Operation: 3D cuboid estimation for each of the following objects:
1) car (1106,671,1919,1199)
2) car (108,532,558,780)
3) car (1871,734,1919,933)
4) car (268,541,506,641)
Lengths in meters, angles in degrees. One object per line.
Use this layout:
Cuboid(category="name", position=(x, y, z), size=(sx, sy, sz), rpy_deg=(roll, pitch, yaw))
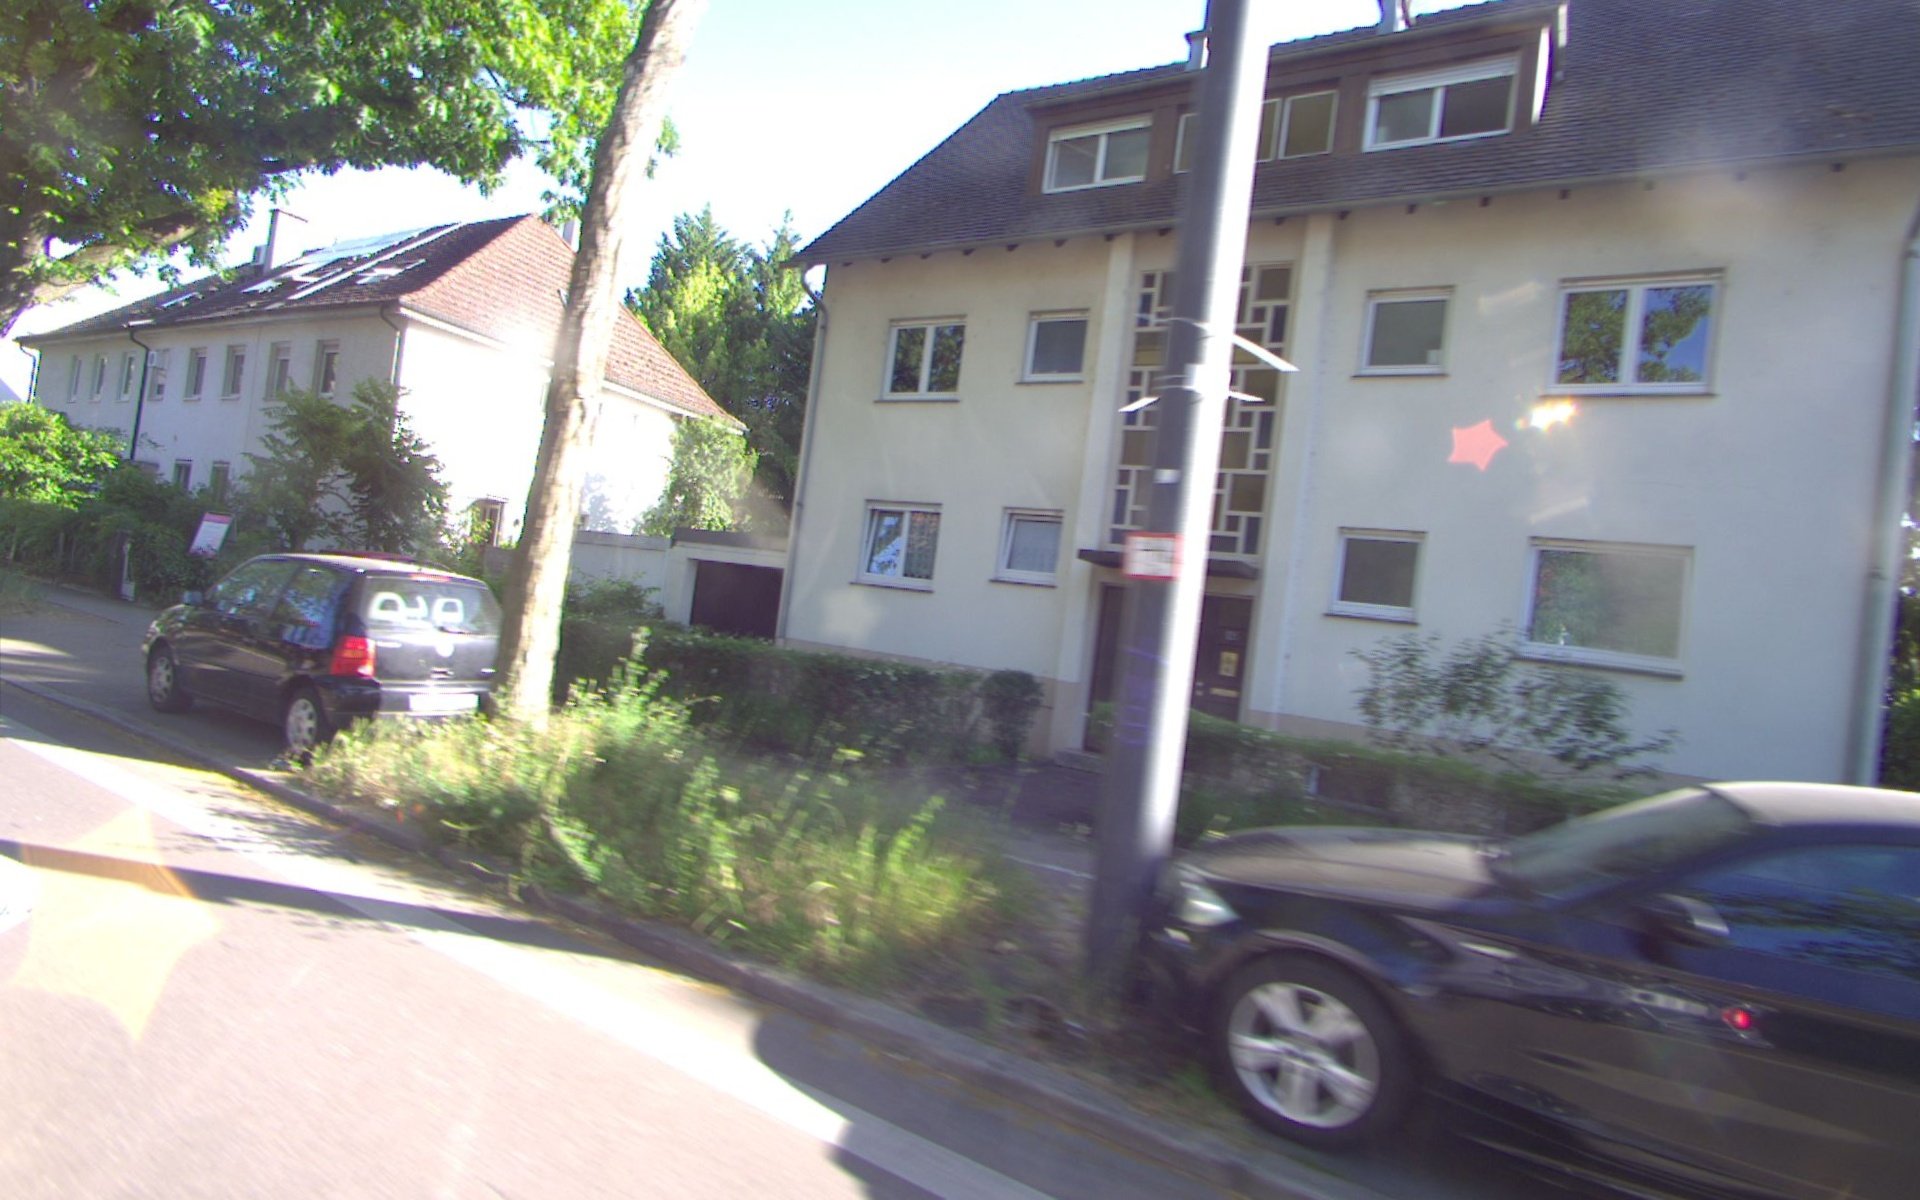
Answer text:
Cuboid(category="car", position=(2.854, 1.266, 3.313), size=(4.228, 1.467, 1.786), rpy_deg=(7, 1, 30))
Cuboid(category="car", position=(-5.228, 0.354, 8.298), size=(3.584, 1.416, 1.628), rpy_deg=(7, 1, 31))
Cuboid(category="car", position=(7.916, 1.860, 6.616), size=(1.709, 1.507, 3.748), rpy_deg=(7, -1, 26))
Cuboid(category="car", position=(-10.289, -0.097, 18.346), size=(1.702, 1.453, 3.409), rpy_deg=(7, -1, 18))
